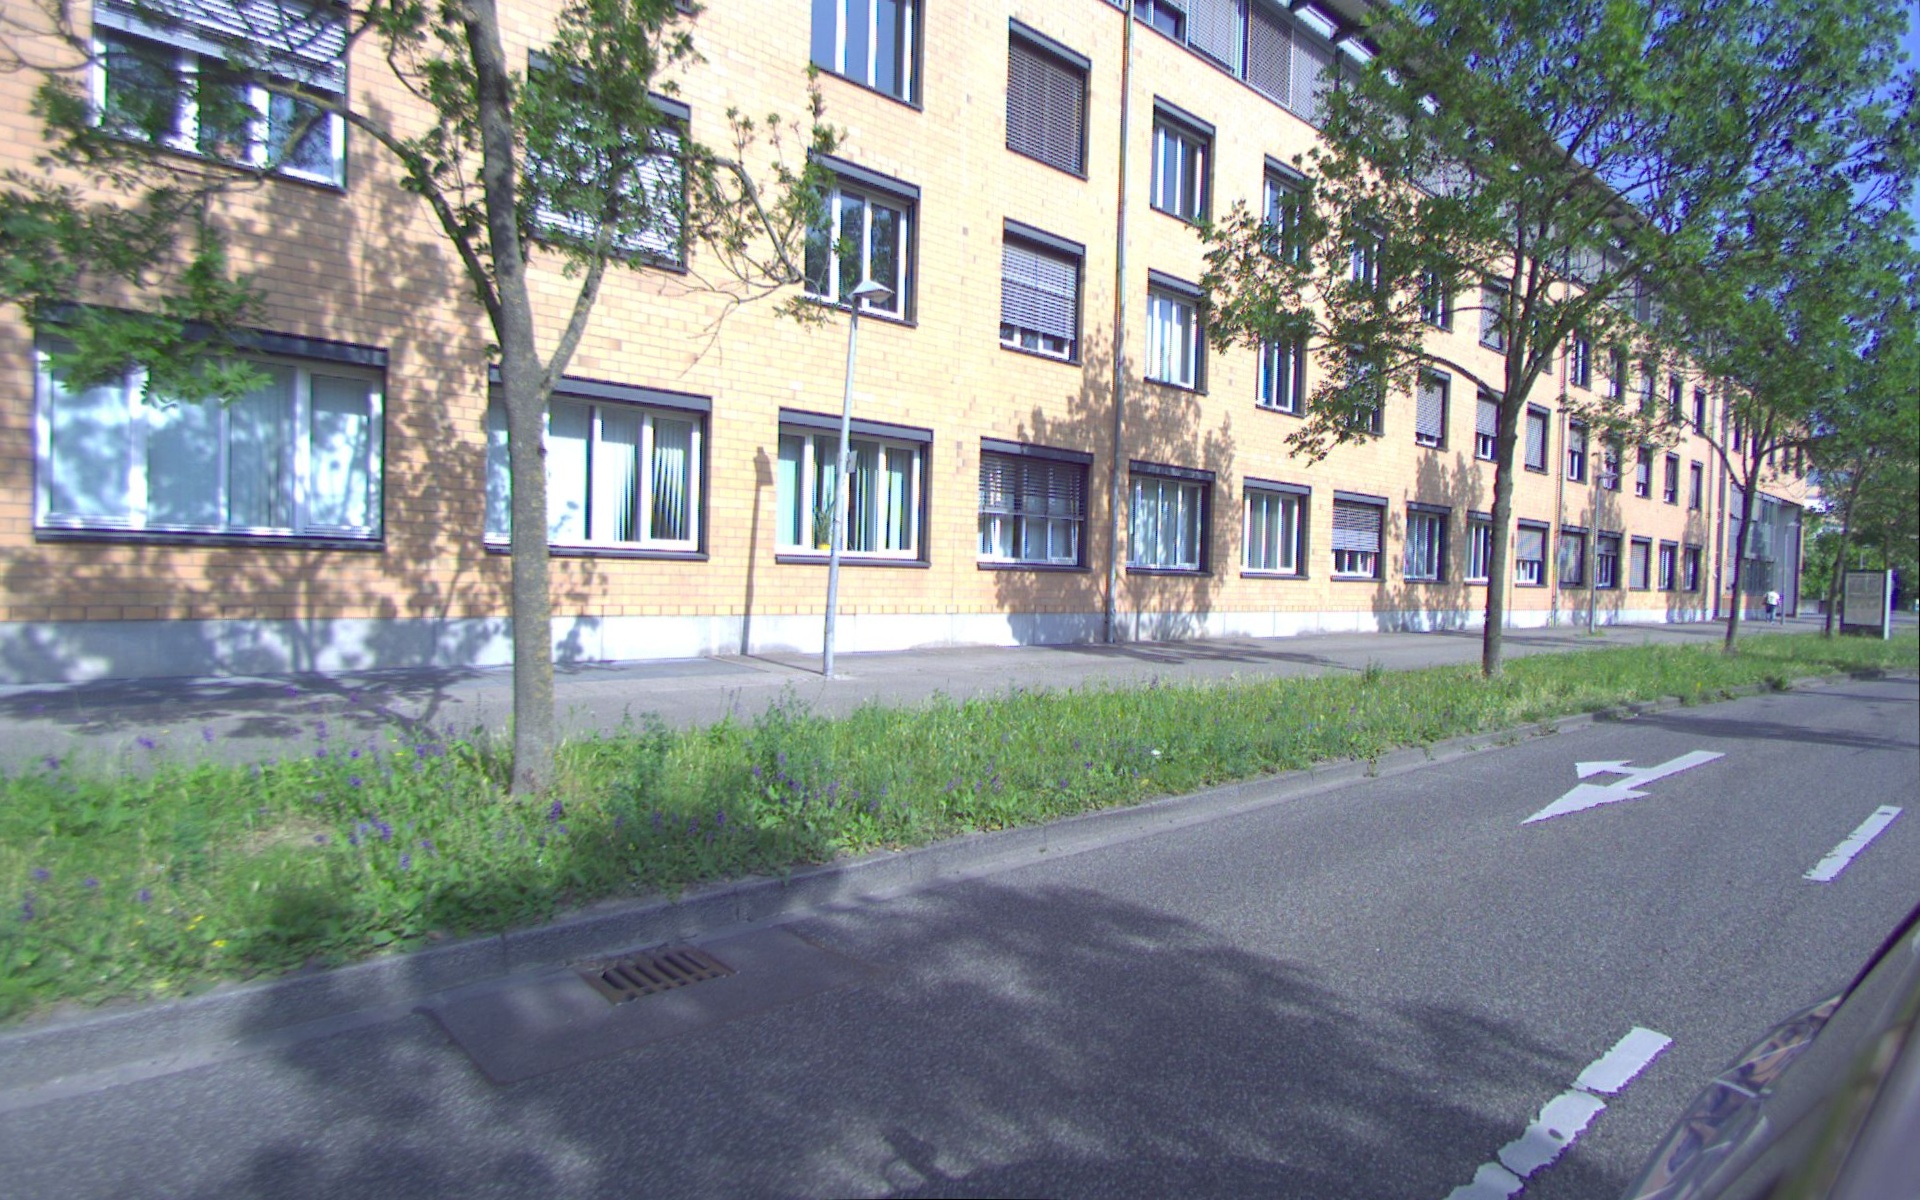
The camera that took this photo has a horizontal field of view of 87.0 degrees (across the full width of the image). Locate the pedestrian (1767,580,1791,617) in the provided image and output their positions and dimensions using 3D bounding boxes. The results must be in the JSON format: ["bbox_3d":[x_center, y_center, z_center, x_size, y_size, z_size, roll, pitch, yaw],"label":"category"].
[{"bbox_3d":[38.422,-0.068,47.467,0.759,1.676,0.697,0,3,-40],"label":"pedestrian"}]
